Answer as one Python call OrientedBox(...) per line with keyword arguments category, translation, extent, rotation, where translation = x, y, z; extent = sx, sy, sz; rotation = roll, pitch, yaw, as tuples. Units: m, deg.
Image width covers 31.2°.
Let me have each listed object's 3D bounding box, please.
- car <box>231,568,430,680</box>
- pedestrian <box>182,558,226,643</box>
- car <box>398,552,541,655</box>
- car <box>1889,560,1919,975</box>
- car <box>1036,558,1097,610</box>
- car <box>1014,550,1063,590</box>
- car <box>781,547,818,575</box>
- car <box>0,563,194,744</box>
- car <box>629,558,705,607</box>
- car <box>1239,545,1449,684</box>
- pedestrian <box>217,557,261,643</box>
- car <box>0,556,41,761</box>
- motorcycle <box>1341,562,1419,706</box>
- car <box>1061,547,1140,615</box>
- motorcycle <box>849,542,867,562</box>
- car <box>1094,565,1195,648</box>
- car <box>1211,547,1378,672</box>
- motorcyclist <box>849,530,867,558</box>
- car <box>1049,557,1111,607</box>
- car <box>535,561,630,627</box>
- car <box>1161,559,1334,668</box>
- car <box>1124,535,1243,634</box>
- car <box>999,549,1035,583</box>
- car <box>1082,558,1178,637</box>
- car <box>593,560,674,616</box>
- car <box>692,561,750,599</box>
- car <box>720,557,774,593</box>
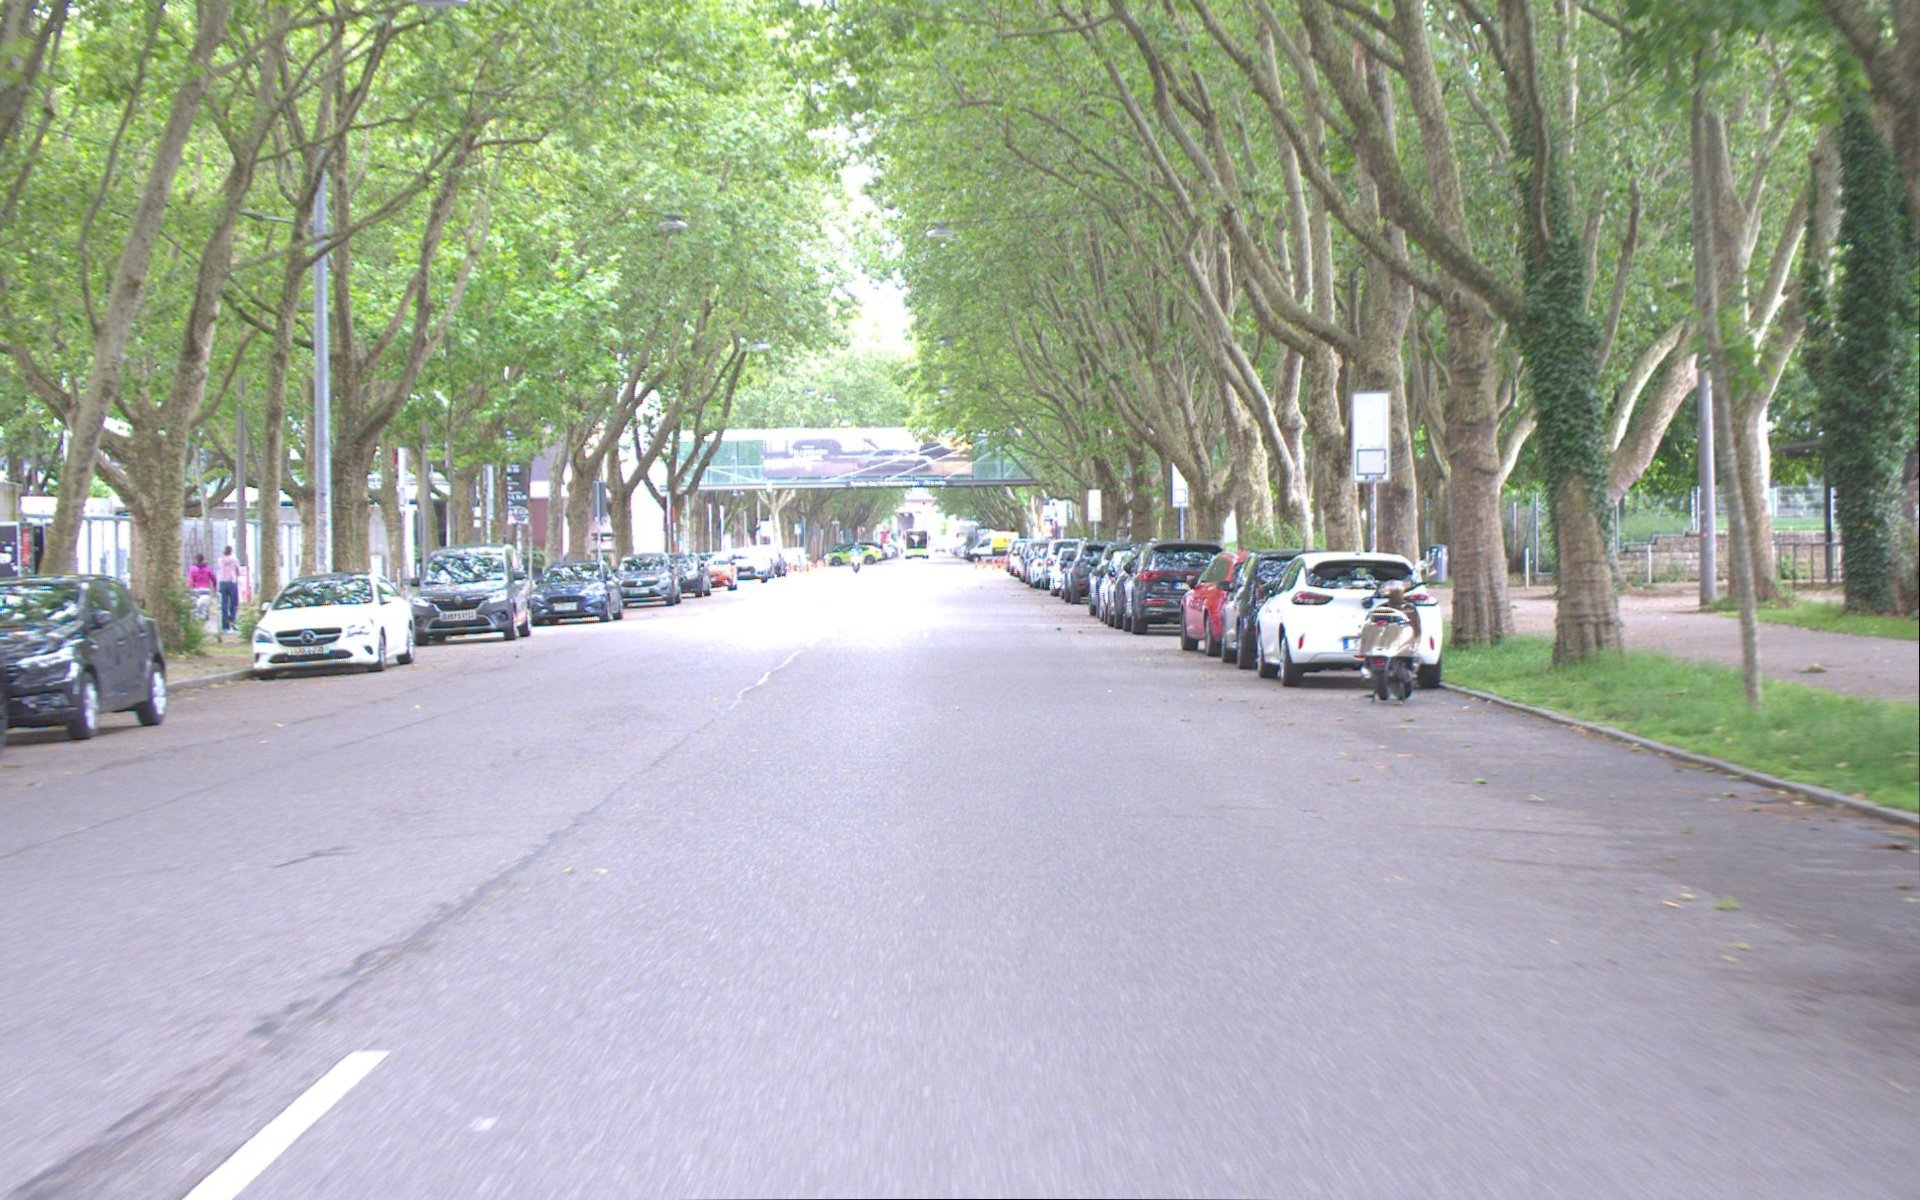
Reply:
OrientedBox(category="car", translation=(-8.969, 0.309, 49.357), extent=(1.904, 1.398, 4.751), rotation=(-4, 1, 0))
OrientedBox(category="pedestrian", translation=(-15.543, 0.008, 70.670), extent=(0.575, 1.736, 0.767), rotation=(-1, 0, 15))
OrientedBox(category="car", translation=(-8.936, 0.039, 62.989), extent=(1.949, 1.744, 4.638), rotation=(-2, 1, -1))
OrientedBox(category="car", translation=(4.424, 0.633, 10.410), extent=(1.993, 1.473, 4.371), rotation=(1, 1, 0))
OrientedBox(category="car", translation=(3.573, -0.556, 116.183), extent=(1.903, 1.733, 4.506), rotation=(0, 1, 0))
OrientedBox(category="car", translation=(3.165, -1.214, 139.216), extent=(1.802, 1.550, 4.000), rotation=(-1, 1, -1))
OrientedBox(category="car", translation=(-9.566, -2.323, 204.609), extent=(1.993, 1.596, 4.001), rotation=(0, 1, -5))
OrientedBox(category="car", translation=(-8.530, 0.476, 31.703), extent=(1.833, 1.489, 4.442), rotation=(-4, 1, 0))
OrientedBox(category="car", translation=(-9.397, -0.572, 110.474), extent=(1.827, 1.460, 4.627), rotation=(-2, 0, 2))
OrientedBox(category="car", translation=(4.197, 0.127, 38.132), extent=(1.735, 1.433, 4.123), rotation=(-1, 1, -2))
OrientedBox(category="pedestrian", translation=(-14.809, 0.000, 70.646), extent=(0.577, 1.764, 0.767), rotation=(-1, 0, 15))
OrientedBox(category="car", translation=(-8.708, 0.554, 26.148), extent=(1.937, 1.637, 4.928), rotation=(-4, 1, 1))
OrientedBox(category="motorcycle", translation=(4.042, 0.307, 32.990), extent=(0.712, 1.327, 1.992), rotation=(0, 1, 8))
OrientedBox(category="car", translation=(3.636, -0.510, 89.481), extent=(1.707, 1.692, 4.631), rotation=(1, 1, -2))
OrientedBox(category="motorcycle", translation=(-5.405, -2.543, 181.977), extent=(0.873, 1.075, 3.053), rotation=(-1, 1, -4))
OrientedBox(category="car", translation=(3.521, 0.093, 66.211), extent=(1.668, 1.504, 4.354), rotation=(1, 1, 0))
OrientedBox(category="car", translation=(4.212, 0.092, 43.822), extent=(1.730, 1.465, 4.080), rotation=(2, 1, 1))
OrientedBox(category="motorcyclist", translation=(-5.399, -2.965, 181.954), extent=(0.870, 1.475, 1.265), rotation=(-1, 1, -4))
OrientedBox(category="car", translation=(3.556, -0.543, 102.457), extent=(1.707, 1.422, 3.889), rotation=(1, 1, 0))
OrientedBox(category="car", translation=(-8.840, -0.162, 80.715), extent=(1.724, 1.481, 4.575), rotation=(-1, 1, 0))
OrientedBox(category="car", translation=(4.013, 0.157, 48.657), extent=(1.716, 1.433, 4.630), rotation=(1, 1, -4))
OrientedBox(category="car", translation=(3.839, -0.281, 59.674), extent=(1.755, 1.614, 4.439), rotation=(1, 1, 0))
OrientedBox(category="car", translation=(3.054, -1.832, 185.633), extent=(1.847, 1.777, 5.211), rotation=(1, 0, 0))
OrientedBox(category="car", translation=(3.724, -0.079, 75.977), extent=(1.777, 1.667, 4.638), rotation=(-1, 1, -1))
OrientedBox(category="car", translation=(-9.347, -0.354, 98.712), extent=(1.878, 1.521, 4.151), rotation=(-2, 1, 0))
OrientedBox(category="car", translation=(-8.677, -0.740, 125.228), extent=(1.808, 1.349, 4.000), rotation=(-1, 1, 0))
OrientedBox(category="car", translation=(-9.447, -1.131, 152.750), extent=(2.073, 1.557, 4.756), rotation=(-1, 1, 0))
